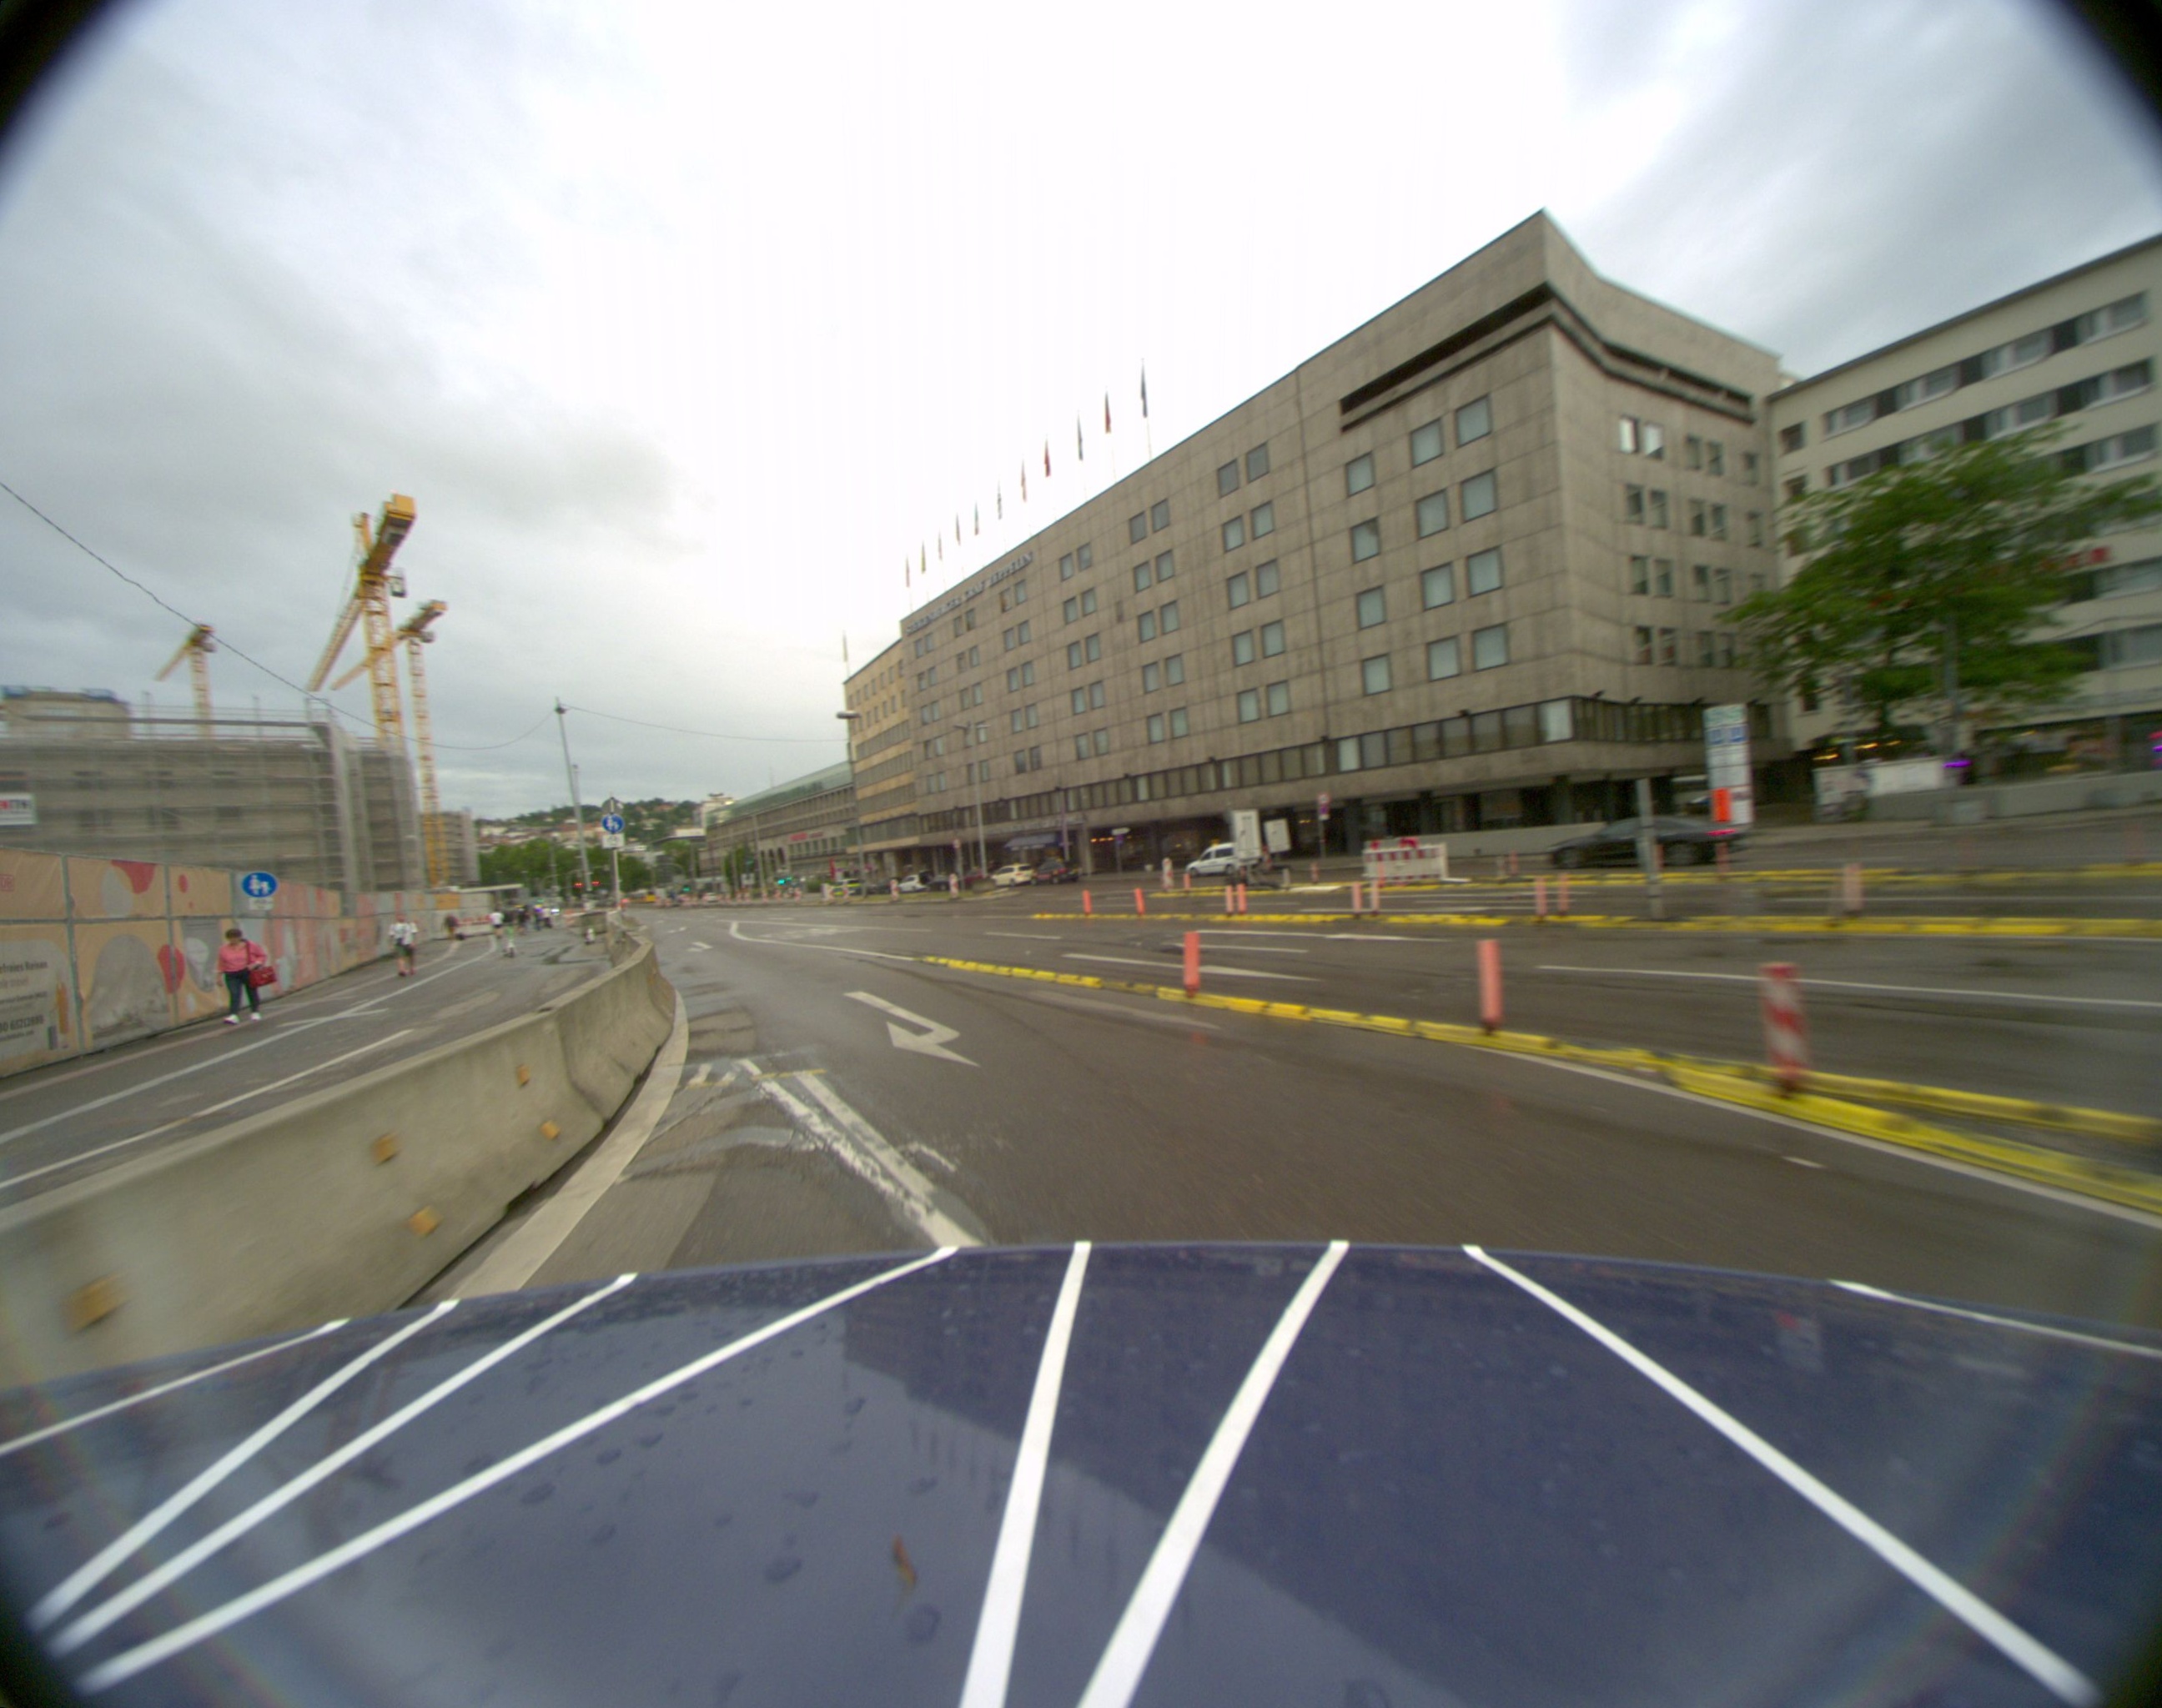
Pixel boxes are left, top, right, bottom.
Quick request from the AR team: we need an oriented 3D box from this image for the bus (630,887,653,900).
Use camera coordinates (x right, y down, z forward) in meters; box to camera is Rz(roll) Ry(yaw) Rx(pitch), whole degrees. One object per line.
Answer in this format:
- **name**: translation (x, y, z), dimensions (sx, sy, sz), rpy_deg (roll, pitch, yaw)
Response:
- **bus**: translation (-109.324, 9.790, 188.970), dimensions (2.916, 2.923, 9.799), rpy_deg (-5, 0, -41)

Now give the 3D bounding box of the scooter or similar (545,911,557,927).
- **scooter or similar**: translation (-43.150, 5.281, 61.822), dimensions (0.668, 1.191, 1.042), rpy_deg (-6, 0, -33)

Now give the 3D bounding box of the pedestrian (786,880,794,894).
- **pedestrian**: translation (-40.935, 4.621, 106.872), dimensions (0.592, 1.914, 0.750), rpy_deg (-6, 1, -39)

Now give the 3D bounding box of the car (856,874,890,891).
- **car**: translation (-22.292, 3.082, 81.429), dimensions (1.763, 1.612, 4.554), rpy_deg (-5, 0, -39)

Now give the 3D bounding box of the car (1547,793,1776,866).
- **car**: translation (16.185, -0.623, 21.447), dimensions (2.021, 1.589, 4.653), rpy_deg (-5, 0, -33)

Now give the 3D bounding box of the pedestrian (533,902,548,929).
- **pedestrian**: translation (-38.572, 4.402, 54.276), dimensions (0.687, 1.878, 0.692), rpy_deg (-6, 1, -33)

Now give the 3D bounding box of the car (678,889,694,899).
- **car**: translation (-72.387, 7.312, 139.154), dimensions (1.783, 1.659, 4.490), rpy_deg (-4, 0, -37)

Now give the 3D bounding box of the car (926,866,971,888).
- **car**: translation (-11.861, 2.094, 67.944), dimensions (1.912, 1.650, 4.606), rpy_deg (-6, 0, -38)

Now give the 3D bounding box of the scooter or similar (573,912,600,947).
- **scooter or similar**: translation (-19.062, 2.892, 29.322), dimensions (0.677, 1.207, 1.568), rpy_deg (-6, 0, -29)

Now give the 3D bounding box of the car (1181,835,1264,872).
- **car**: translation (7.895, 0.004, 42.697), dimensions (1.782, 1.752, 4.361), rpy_deg (-6, 0, -38)

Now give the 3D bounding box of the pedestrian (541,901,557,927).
- **pedestrian**: translation (-42.663, 4.824, 60.958), dimensions (0.806, 2.005, 0.970), rpy_deg (-6, 1, -33)

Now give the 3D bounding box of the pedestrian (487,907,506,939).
- **pedestrian**: translation (-33.293, 3.899, 43.286), dimensions (0.686, 1.730, 0.905), rpy_deg (-6, 1, -36)

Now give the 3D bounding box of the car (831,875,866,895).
- **car**: translation (-26.742, 3.579, 87.382), dimensions (1.909, 1.917, 5.064), rpy_deg (-5, -1, -39)

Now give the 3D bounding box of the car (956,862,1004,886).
- **car**: translation (-8.485, 1.689, 63.531), dimensions (1.911, 1.757, 4.636), rpy_deg (-6, 1, -36)

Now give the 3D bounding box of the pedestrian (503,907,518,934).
- **pedestrian**: translation (-40.686, 4.741, 54.157), dimensions (0.687, 1.878, 0.692), rpy_deg (-6, 1, -36)

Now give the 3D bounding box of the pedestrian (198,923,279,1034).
- **pedestrian**: translation (-15.321, 2.231, 13.842), dimensions (0.722, 1.855, 0.708), rpy_deg (-6, 1, -36)

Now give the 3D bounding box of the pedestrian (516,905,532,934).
- **pedestrian**: translation (-34.030, 3.991, 46.415), dimensions (0.645, 1.730, 0.836), rpy_deg (-6, 1, -36)

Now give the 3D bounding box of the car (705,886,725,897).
- **car**: translation (-59.917, 6.147, 124.284), dimensions (1.832, 1.659, 4.489), rpy_deg (-6, 0, -39)

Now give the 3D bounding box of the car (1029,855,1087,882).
- **car**: translation (-1.722, 1.072, 54.945), dimensions (1.824, 1.718, 4.504), rpy_deg (-6, 1, -36)

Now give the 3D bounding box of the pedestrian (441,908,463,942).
- **pedestrian**: translation (-37.000, 4.178, 44.699), dimensions (0.770, 1.884, 0.652), rpy_deg (-6, 1, -33)

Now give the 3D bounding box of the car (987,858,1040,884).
- **car**: translation (-5.287, 1.335, 59.216), dimensions (1.825, 1.688, 4.567), rpy_deg (-6, 1, -38)

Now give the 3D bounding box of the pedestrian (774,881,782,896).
- **pedestrian**: translation (-42.945, 4.903, 107.651), dimensions (0.706, 2.002, 0.805), rpy_deg (-5, 1, -38)

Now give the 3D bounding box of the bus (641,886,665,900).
- **bus**: translation (-102.138, 9.274, 181.069), dimensions (2.916, 2.923, 9.799), rpy_deg (-5, 0, -41)

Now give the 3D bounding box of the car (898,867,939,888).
- **car**: translation (-15.605, 2.294, 72.654), dimensions (1.763, 1.748, 4.700), rpy_deg (-5, 0, -39)

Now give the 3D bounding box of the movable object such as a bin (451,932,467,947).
- **movable object such as a bin**: translation (-36.923, 5.076, 45.135), dimensions (0.599, 0.730, 0.775), rpy_deg (-5, 5, -34)

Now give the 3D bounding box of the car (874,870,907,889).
- **car**: translation (-19.264, 2.608, 76.844), dimensions (1.762, 1.671, 4.219), rpy_deg (-5, 0, -35)

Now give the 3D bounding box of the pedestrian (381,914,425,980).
- **pedestrian**: translation (-20.272, 2.760, 22.737), dimensions (0.707, 1.855, 0.988), rpy_deg (-6, 1, -34)

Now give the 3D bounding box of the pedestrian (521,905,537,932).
- **pedestrian**: translation (-39.154, 4.560, 53.893), dimensions (0.687, 1.878, 0.692), rpy_deg (-6, 1, -33)

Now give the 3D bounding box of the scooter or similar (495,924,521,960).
- **scooter or similar**: translation (-19.960, 3.039, 26.452), dimensions (0.469, 1.176, 1.411), rpy_deg (-6, 1, -44)
